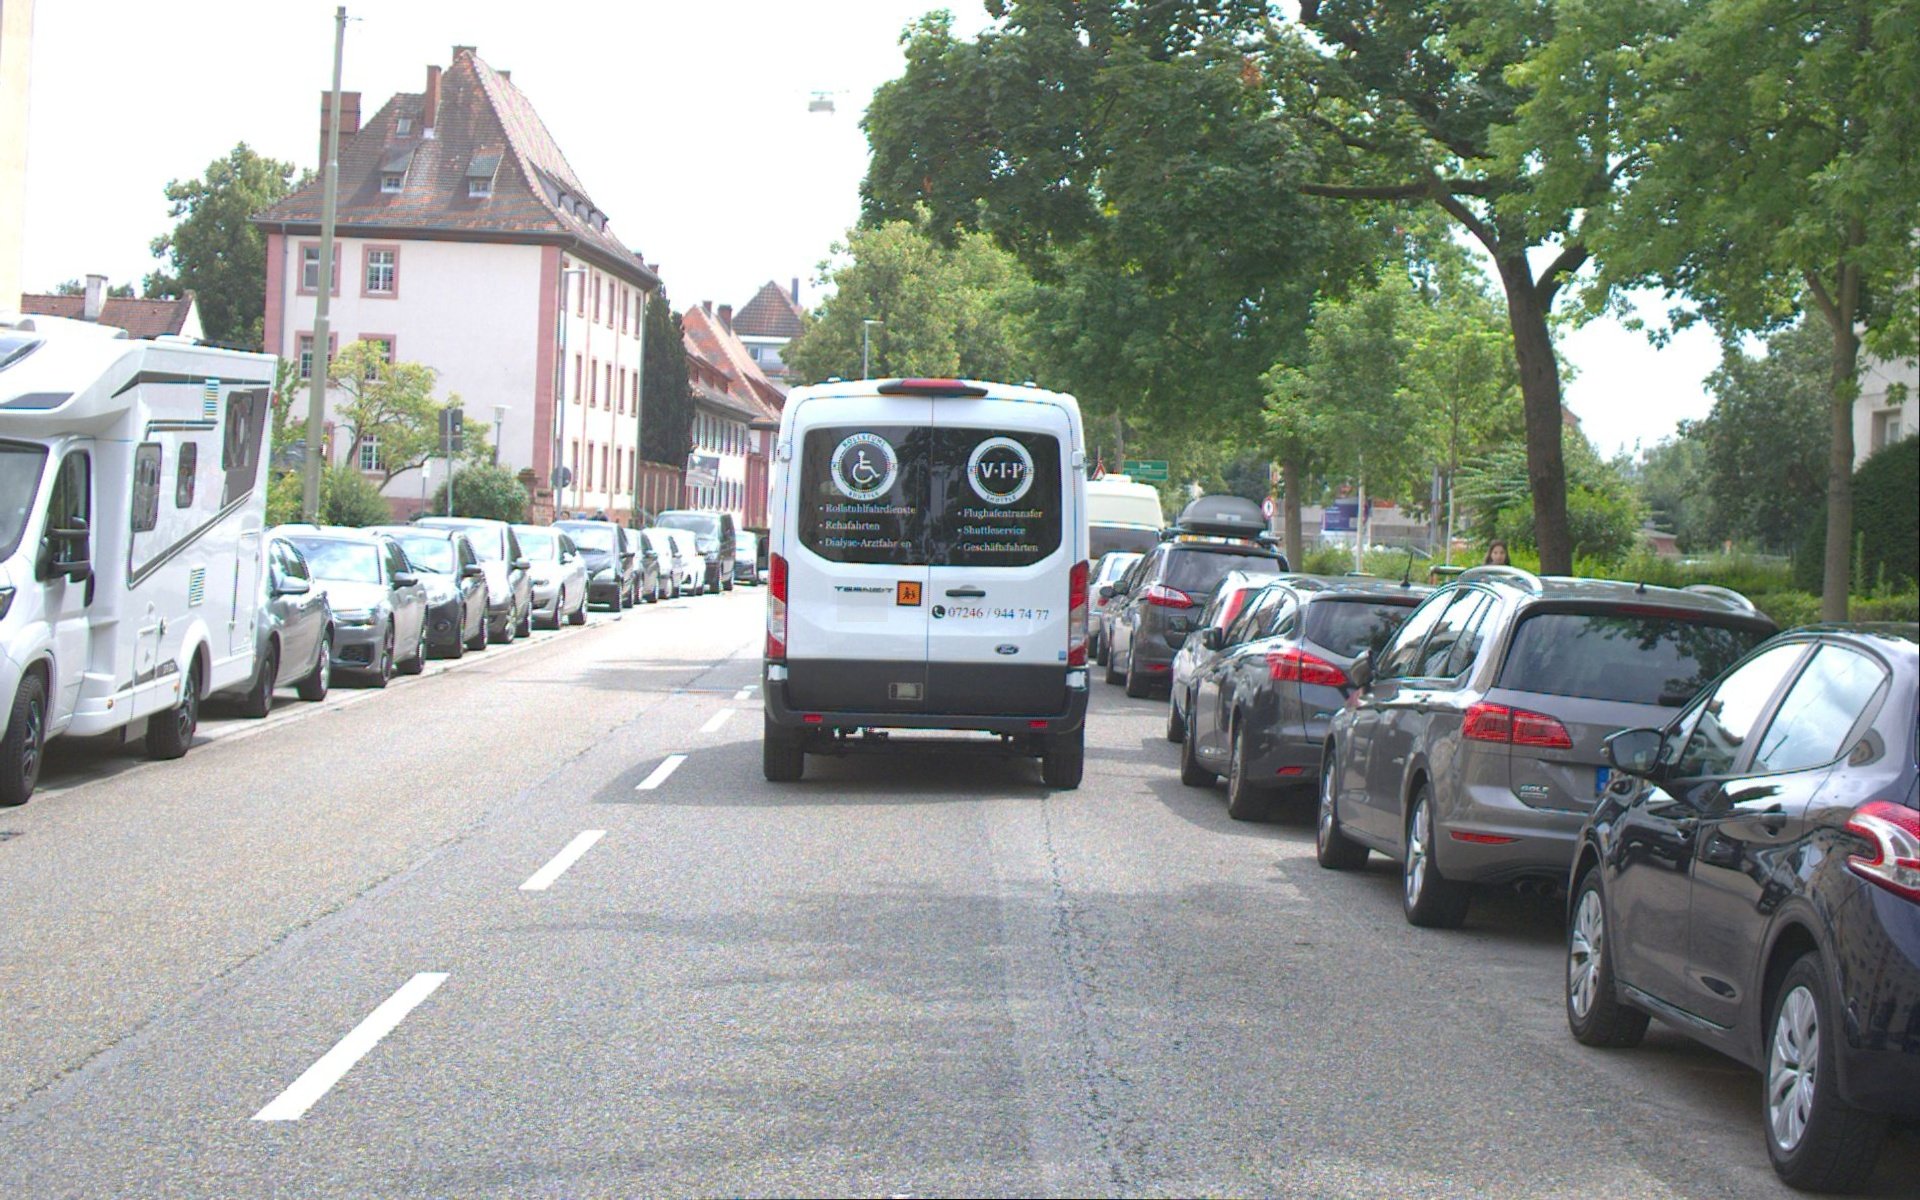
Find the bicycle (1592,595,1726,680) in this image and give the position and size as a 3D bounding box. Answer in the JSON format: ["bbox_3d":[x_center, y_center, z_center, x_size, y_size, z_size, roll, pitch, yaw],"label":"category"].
[{"bbox_3d":[8.046,0.433,39.586,1.383,0.913,0.514,2,2,-13],"label":"bicycle"}]

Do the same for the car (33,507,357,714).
[{"bbox_3d":[-6.289,0.034,28.766,1.688,1.491,4.594,4,1,-1],"label":"car"}]

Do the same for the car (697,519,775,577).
[{"bbox_3d":[-6.185,-1.453,95.345,1.786,1.477,3.861,4,1,0],"label":"car"}]

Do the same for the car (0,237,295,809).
[{"bbox_3d":[-6.213,-0.557,21.834,2.510,3.013,7.397,4,1,-1],"label":"car"}]

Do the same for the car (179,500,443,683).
[{"bbox_3d":[-6.367,-0.141,34.271,1.885,1.574,5.220,4,1,-4],"label":"car"}]

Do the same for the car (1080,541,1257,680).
[{"bbox_3d":[2.495,0.087,42.023,1.712,1.459,4.001,5,1,-2],"label":"car"}]

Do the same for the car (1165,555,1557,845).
[{"bbox_3d":[2.360,0.531,21.300,1.617,1.464,4.392,4,1,-3],"label":"car"}]

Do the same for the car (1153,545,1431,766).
[{"bbox_3d":[2.476,0.361,26.519,1.659,1.451,4.036,4,1,0],"label":"car"}]

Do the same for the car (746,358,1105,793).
[{"bbox_3d":[-0.294,-0.176,22.733,2.070,2.531,4.635,1,1,-2],"label":"car"}]

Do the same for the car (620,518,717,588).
[{"bbox_3d":[-6.713,-1.107,79.501,1.786,1.477,3.861,4,1,0],"label":"car"}]

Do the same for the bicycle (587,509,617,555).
[{"bbox_3d":[-9.184,-1.748,88.194,0.541,1.171,1.349,2,1,3],"label":"bicycle"}]

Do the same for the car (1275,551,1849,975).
[{"bbox_3d":[2.666,0.640,16.239,1.659,1.577,4.286,5,1,-3],"label":"car"}]

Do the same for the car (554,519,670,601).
[{"bbox_3d":[-6.827,-0.800,67.821,1.786,1.457,3.861,4,1,0],"label":"car"}]

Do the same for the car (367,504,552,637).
[{"bbox_3d":[-6.598,-0.423,45.711,1.885,1.574,4.154,4,1,-2],"label":"car"}]

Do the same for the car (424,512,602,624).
[{"bbox_3d":[-6.673,-0.507,51.768,1.886,1.483,4.633,4,1,1],"label":"car"}]

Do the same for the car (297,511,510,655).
[{"bbox_3d":[-6.510,-0.242,40.683,1.741,1.491,4.786,4,1,-1],"label":"car"}]

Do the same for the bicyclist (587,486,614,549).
[{"bbox_3d":[-9.187,-2.111,87.863,0.536,1.580,0.691,2,1,3],"label":"bicyclist"}]

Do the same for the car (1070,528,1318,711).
[{"bbox_3d":[2.415,0.141,36.850,1.927,1.655,5.326,5,1,-3],"label":"car"}]

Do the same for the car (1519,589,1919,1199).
[{"bbox_3d":[2.834,0.800,9.933,1.659,1.464,3.890,2,2,-1],"label":"car"}]

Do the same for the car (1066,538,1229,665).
[{"bbox_3d":[2.486,-0.021,46.572,1.680,1.464,4.556,5,1,-2],"label":"car"}]

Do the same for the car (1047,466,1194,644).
[{"bbox_3d":[2.530,-0.735,55.308,1.897,2.578,4.829,5,1,0],"label":"car"}]

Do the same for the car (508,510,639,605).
[{"bbox_3d":[-6.887,-0.775,61.581,1.786,1.538,3.861,4,1,0],"label":"car"}]

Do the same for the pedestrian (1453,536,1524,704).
[{"bbox_3d":[5.806,0.216,37.783,0.522,1.822,0.524,1,1,-21],"label":"pedestrian"}]
